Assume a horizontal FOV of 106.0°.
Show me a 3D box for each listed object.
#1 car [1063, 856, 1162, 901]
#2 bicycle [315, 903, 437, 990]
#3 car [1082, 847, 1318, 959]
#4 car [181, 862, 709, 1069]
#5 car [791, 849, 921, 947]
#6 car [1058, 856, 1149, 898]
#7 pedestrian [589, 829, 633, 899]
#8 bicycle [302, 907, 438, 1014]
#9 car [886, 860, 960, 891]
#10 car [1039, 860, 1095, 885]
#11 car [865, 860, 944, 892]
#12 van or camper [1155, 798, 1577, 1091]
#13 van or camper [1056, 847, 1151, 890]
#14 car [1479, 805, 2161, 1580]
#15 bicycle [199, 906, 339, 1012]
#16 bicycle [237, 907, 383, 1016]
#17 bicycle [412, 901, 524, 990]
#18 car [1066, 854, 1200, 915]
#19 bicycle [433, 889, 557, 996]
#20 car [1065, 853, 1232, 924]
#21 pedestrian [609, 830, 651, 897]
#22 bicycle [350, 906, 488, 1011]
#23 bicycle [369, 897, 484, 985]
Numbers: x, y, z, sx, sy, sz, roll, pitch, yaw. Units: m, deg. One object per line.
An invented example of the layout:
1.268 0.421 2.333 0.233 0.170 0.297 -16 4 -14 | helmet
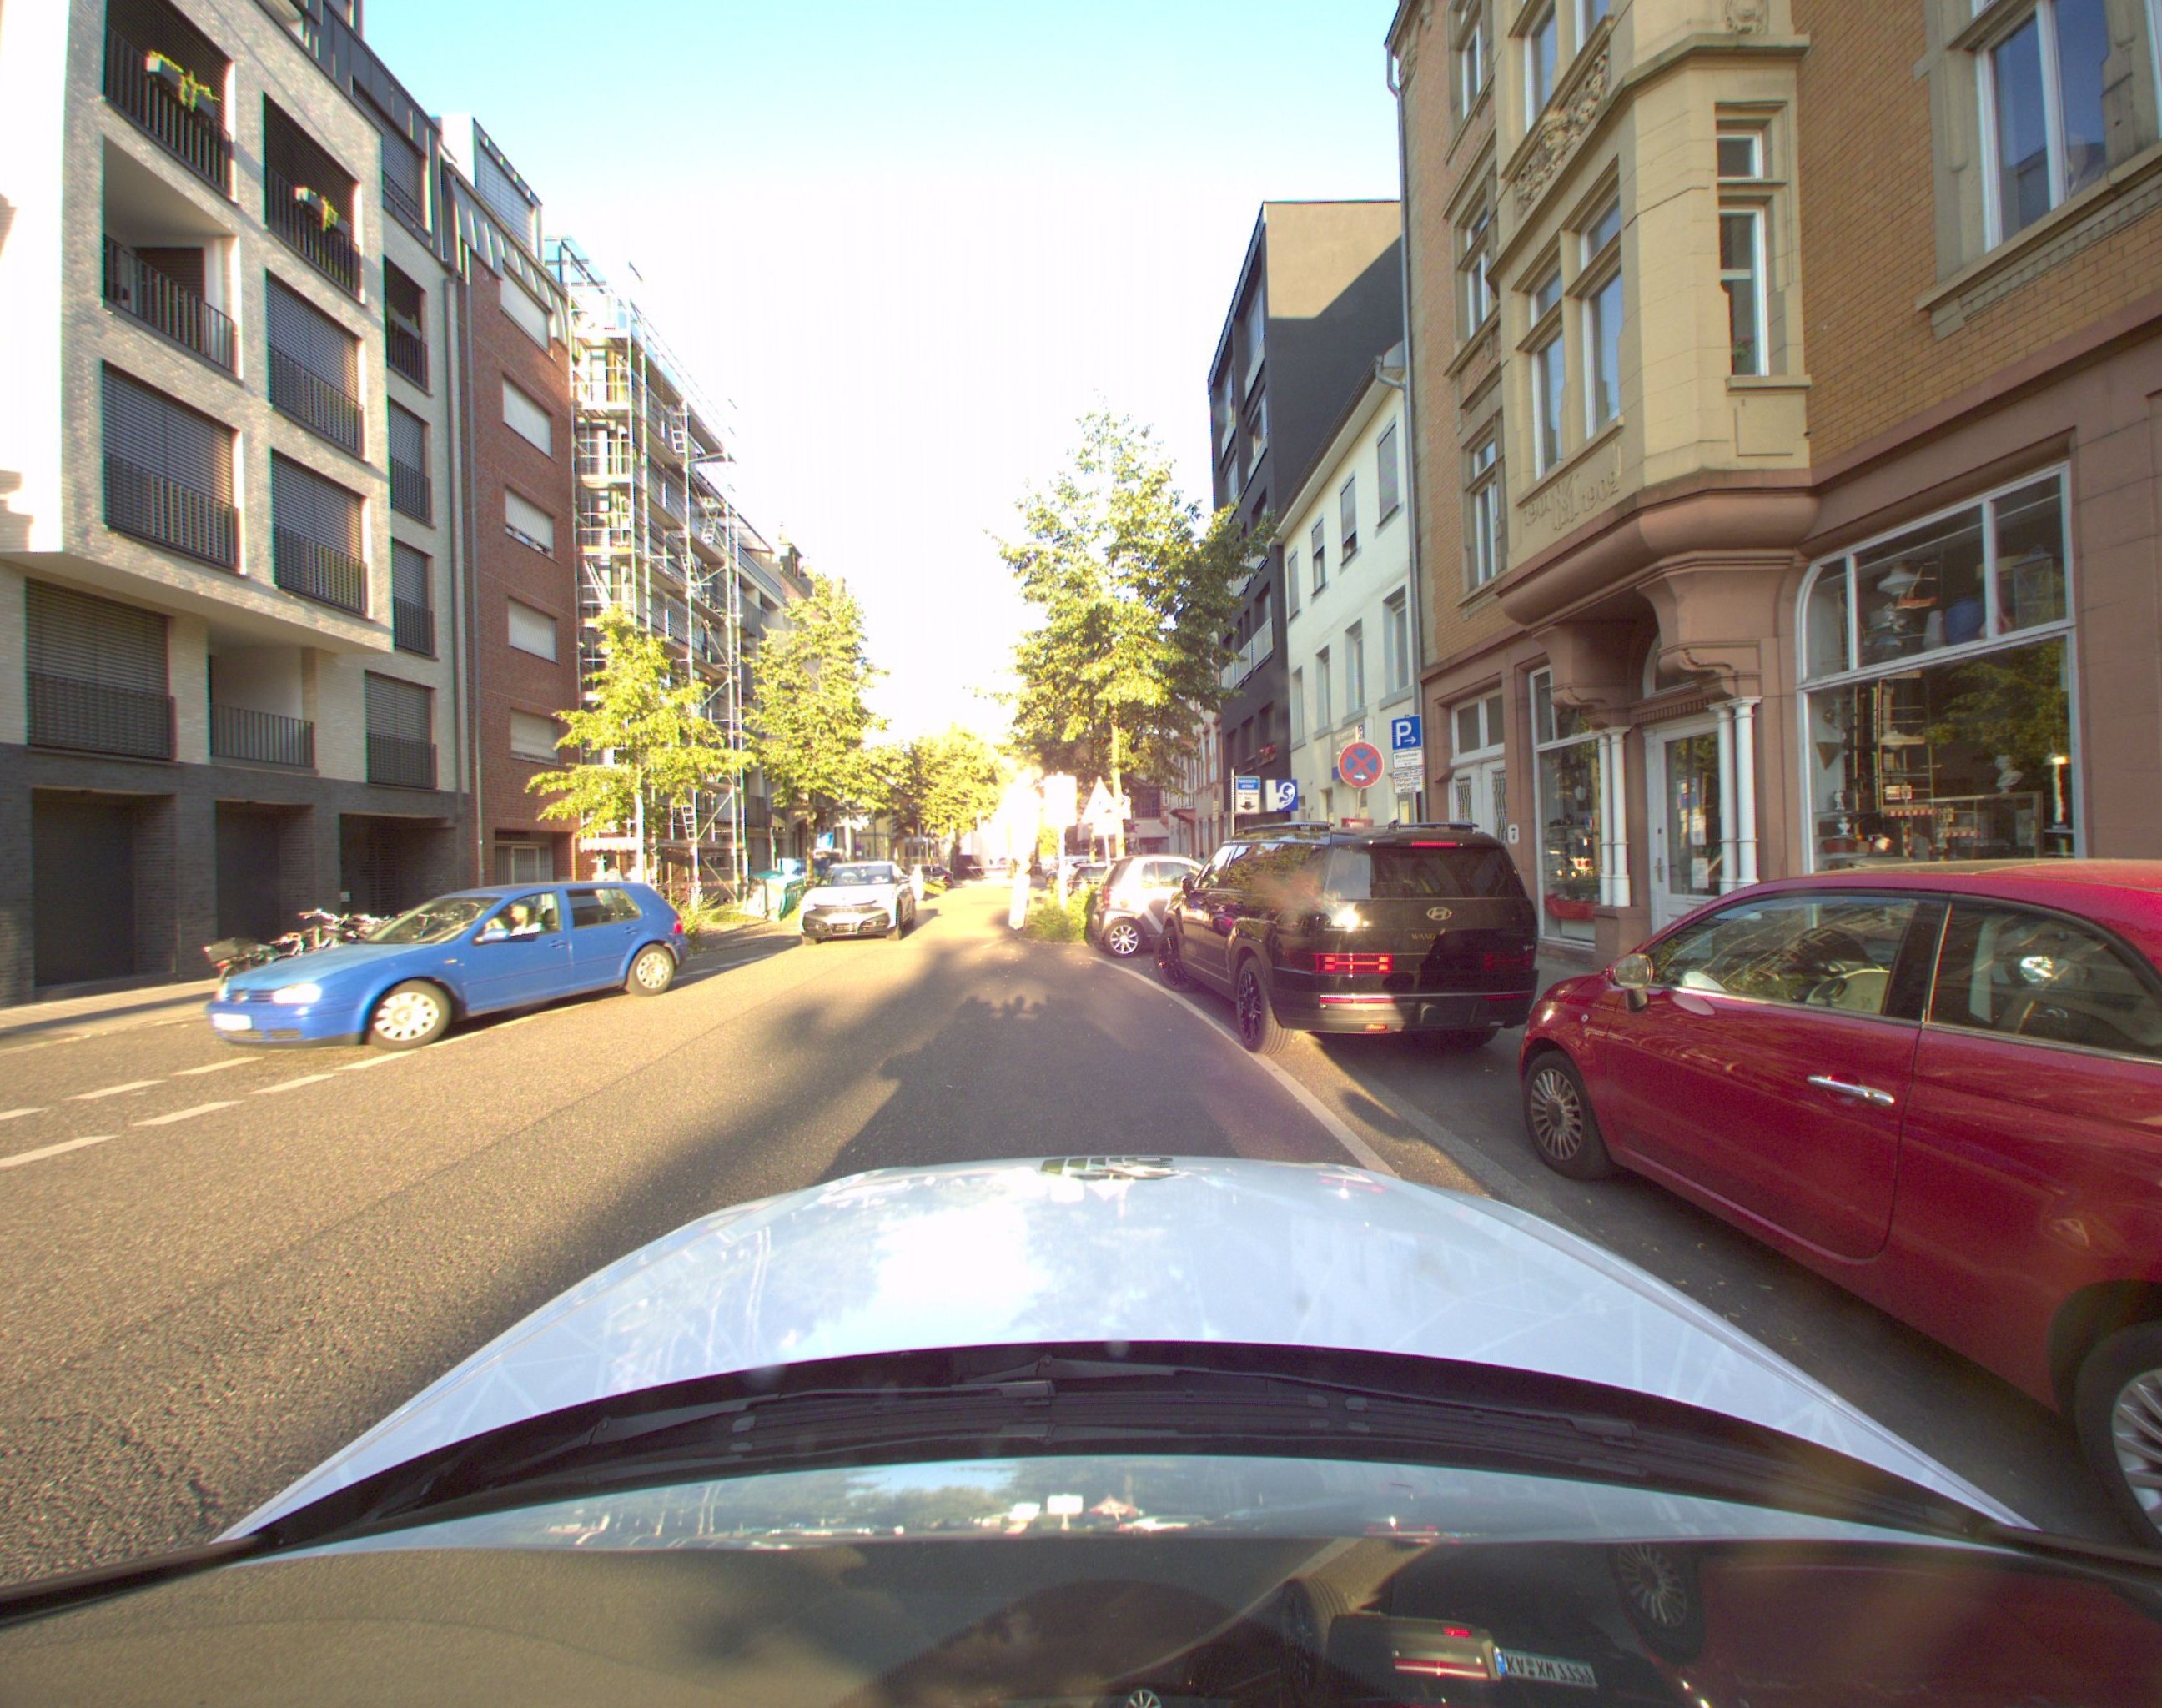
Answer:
1.172 0.913 31.380 3.677 1.670 1.856 0 -1 -4 | car
-10.500 1.344 12.195 0.456 1.132 1.551 -2 0 0 | bicycle
1.859 0.734 13.153 3.470 1.575 1.502 -2 0 -10 | car
-6.303 0.954 8.749 1.674 1.563 4.140 -3 0 21 | car
-4.564 0.832 17.196 1.871 1.697 4.311 -4 0 -6 | car
0.899 0.941 33.957 3.677 1.670 1.856 0 -1 -4 | car
-12.471 0.264 21.630 0.739 1.783 0.656 -2 -1 -1 | pedestrian
-9.073 1.319 10.469 0.379 1.159 1.551 -2 0 0 | bicycle
-9.454 1.269 48.862 3.973 1.684 1.891 -1 0 1 | car
-0.865 1.153 52.023 1.834 1.568 3.720 -1 -1 32 | car
-9.948 1.248 46.172 3.973 1.684 1.891 -1 0 1 | car
2.051 0.571 7.425 1.887 1.807 4.451 -1 0 -6 | van or camper
1.019 0.690 39.029 4.430 2.005 1.856 0 -1 -4 | van or camper
2.955 0.681 2.803 1.520 1.570 3.422 -1 0 0 | car
-10.376 1.301 10.469 0.386 1.183 1.405 -2 0 0 | bicycle
-9.835 1.326 10.460 0.385 1.189 1.551 -2 0 0 | bicycle
-9.104 1.324 12.174 0.486 1.149 1.551 -2 0 -1 | bicycle
1.426 0.844 23.435 3.677 1.670 1.856 0 -1 -4 | car
-7.651 1.112 10.709 0.496 1.220 1.551 -2 0 -1 | bicycle
1.624 0.837 20.613 3.987 1.670 1.856 0 -1 -4 | car
-12.348 0.255 22.327 0.739 1.783 0.656 -2 -1 -3 | pedestrian
-8.510 1.300 10.550 0.415 1.157 1.554 -2 0 4 | bicycle
-9.803 1.267 12.268 0.466 1.144 1.551 -2 0 0 | bicycle
